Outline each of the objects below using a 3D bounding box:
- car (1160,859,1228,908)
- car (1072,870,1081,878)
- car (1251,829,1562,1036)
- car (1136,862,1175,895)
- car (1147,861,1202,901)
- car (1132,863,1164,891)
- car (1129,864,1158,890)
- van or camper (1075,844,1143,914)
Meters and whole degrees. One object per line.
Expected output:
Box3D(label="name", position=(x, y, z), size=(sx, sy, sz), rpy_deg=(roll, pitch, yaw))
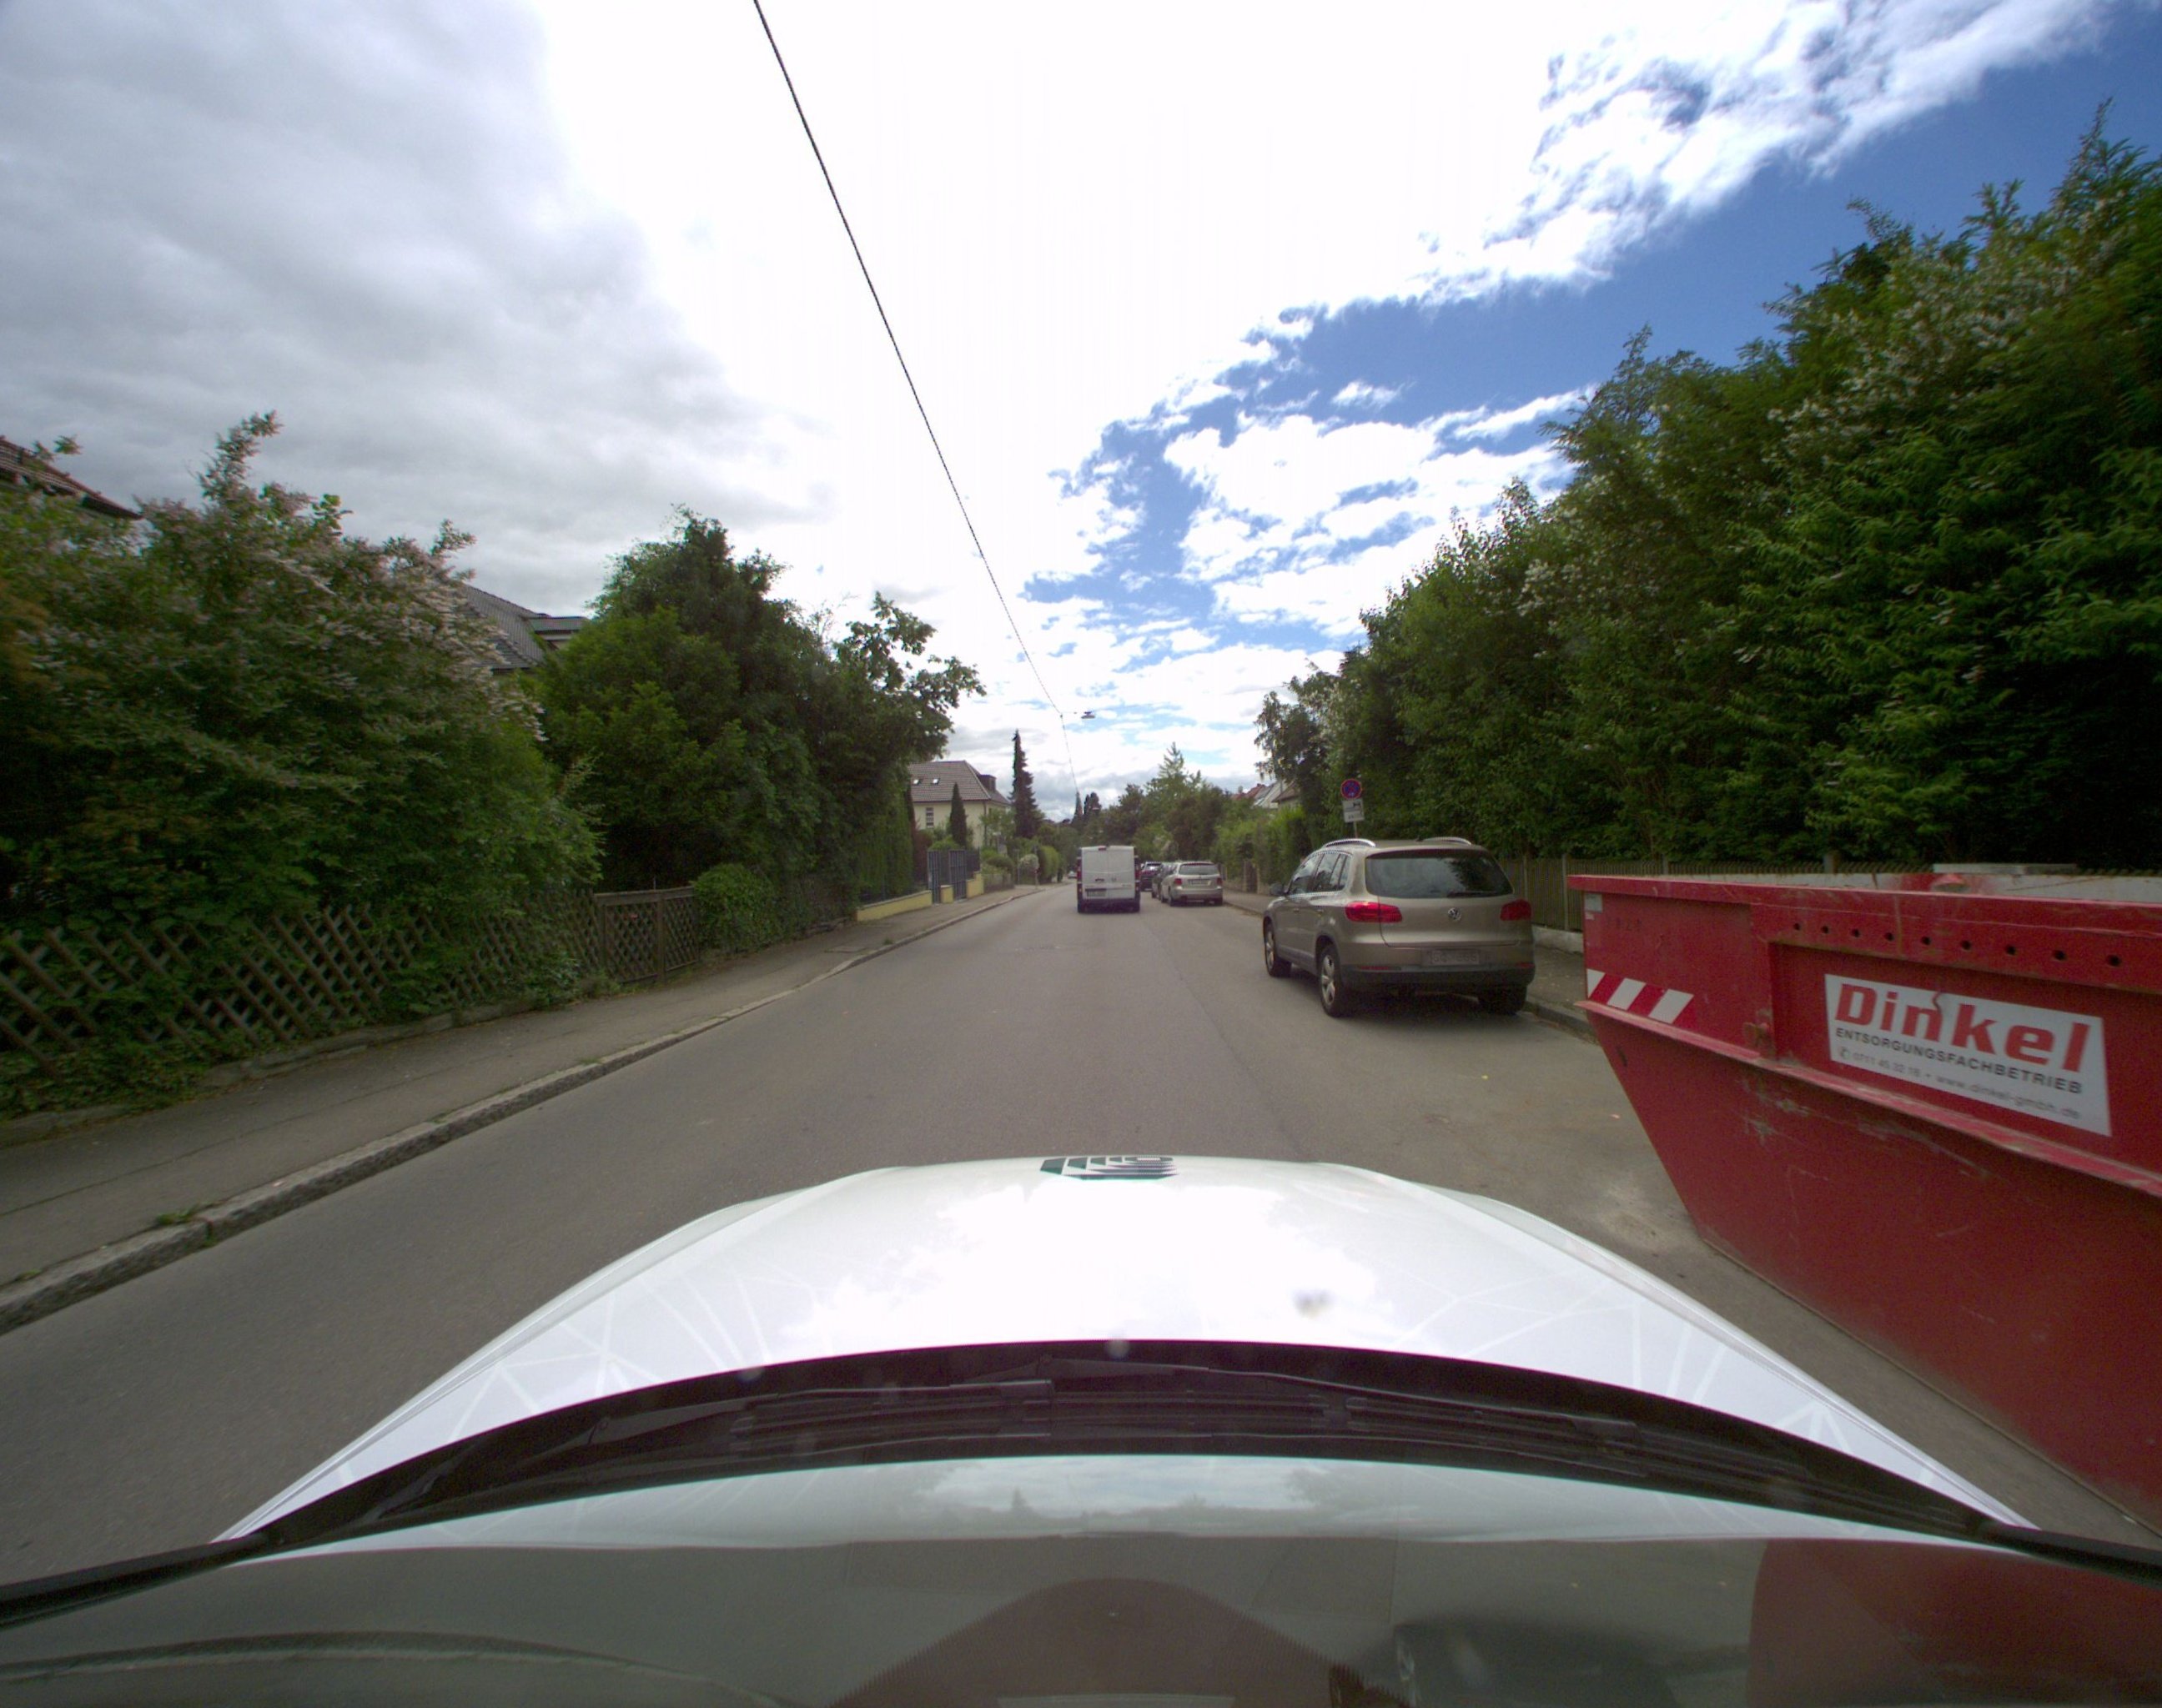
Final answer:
Box3D(label="car", position=(3.732, 0.940, 27.564), size=(1.738, 1.447, 4.259), rpy_deg=(-2, 0, 1))
Box3D(label="car", position=(-0.967, 4.203, 168.079), size=(1.738, 1.525, 4.012), rpy_deg=(-2, 0, 1))
Box3D(label="car", position=(3.154, 0.660, 8.894), size=(1.738, 1.675, 4.185), rpy_deg=(-2, 0, 1))
Box3D(label="car", position=(3.990, 1.268, 44.057), size=(1.738, 1.629, 4.259), rpy_deg=(-2, 0, 1))
Box3D(label="car", position=(3.709, 1.038, 32.922), size=(1.738, 1.447, 4.259), rpy_deg=(-2, 0, 1))
Box3D(label="car", position=(4.258, 1.422, 52.275), size=(1.738, 1.629, 4.259), rpy_deg=(-2, 0, 1))
Box3D(label="car", position=(4.392, 1.597, 57.805), size=(1.738, 1.629, 4.259), rpy_deg=(-2, 0, 1))
Box3D(label="van or camper", position=(0.831, 0.734, 25.388), size=(1.932, 1.954, 4.765), rpy_deg=(0, -1, 1))
